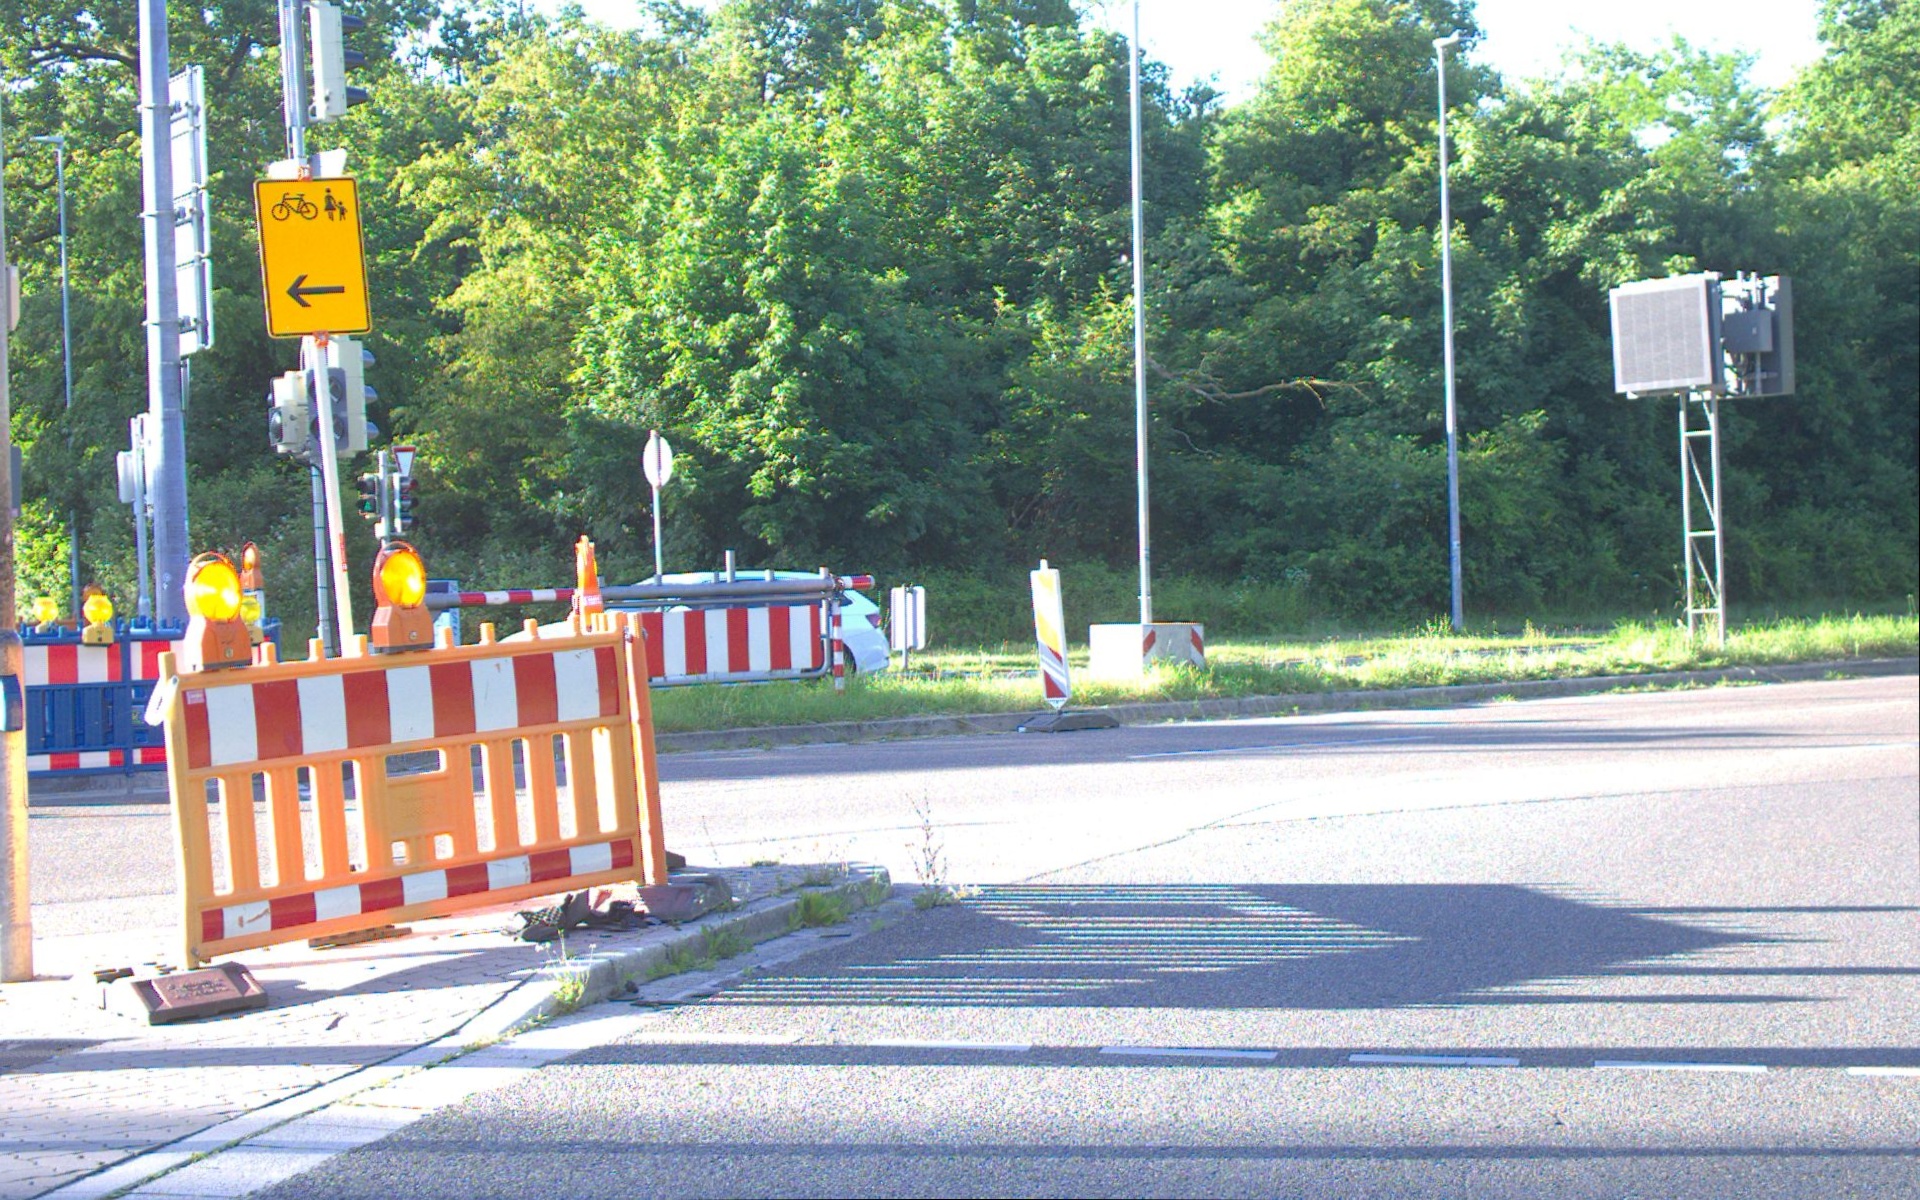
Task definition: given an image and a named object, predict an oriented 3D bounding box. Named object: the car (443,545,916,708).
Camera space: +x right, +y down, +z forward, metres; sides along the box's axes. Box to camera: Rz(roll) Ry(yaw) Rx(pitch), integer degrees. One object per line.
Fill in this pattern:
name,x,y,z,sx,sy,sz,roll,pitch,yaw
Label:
car,-3.022,0.256,37.599,4.819,1.575,1.999,-2,1,-38
